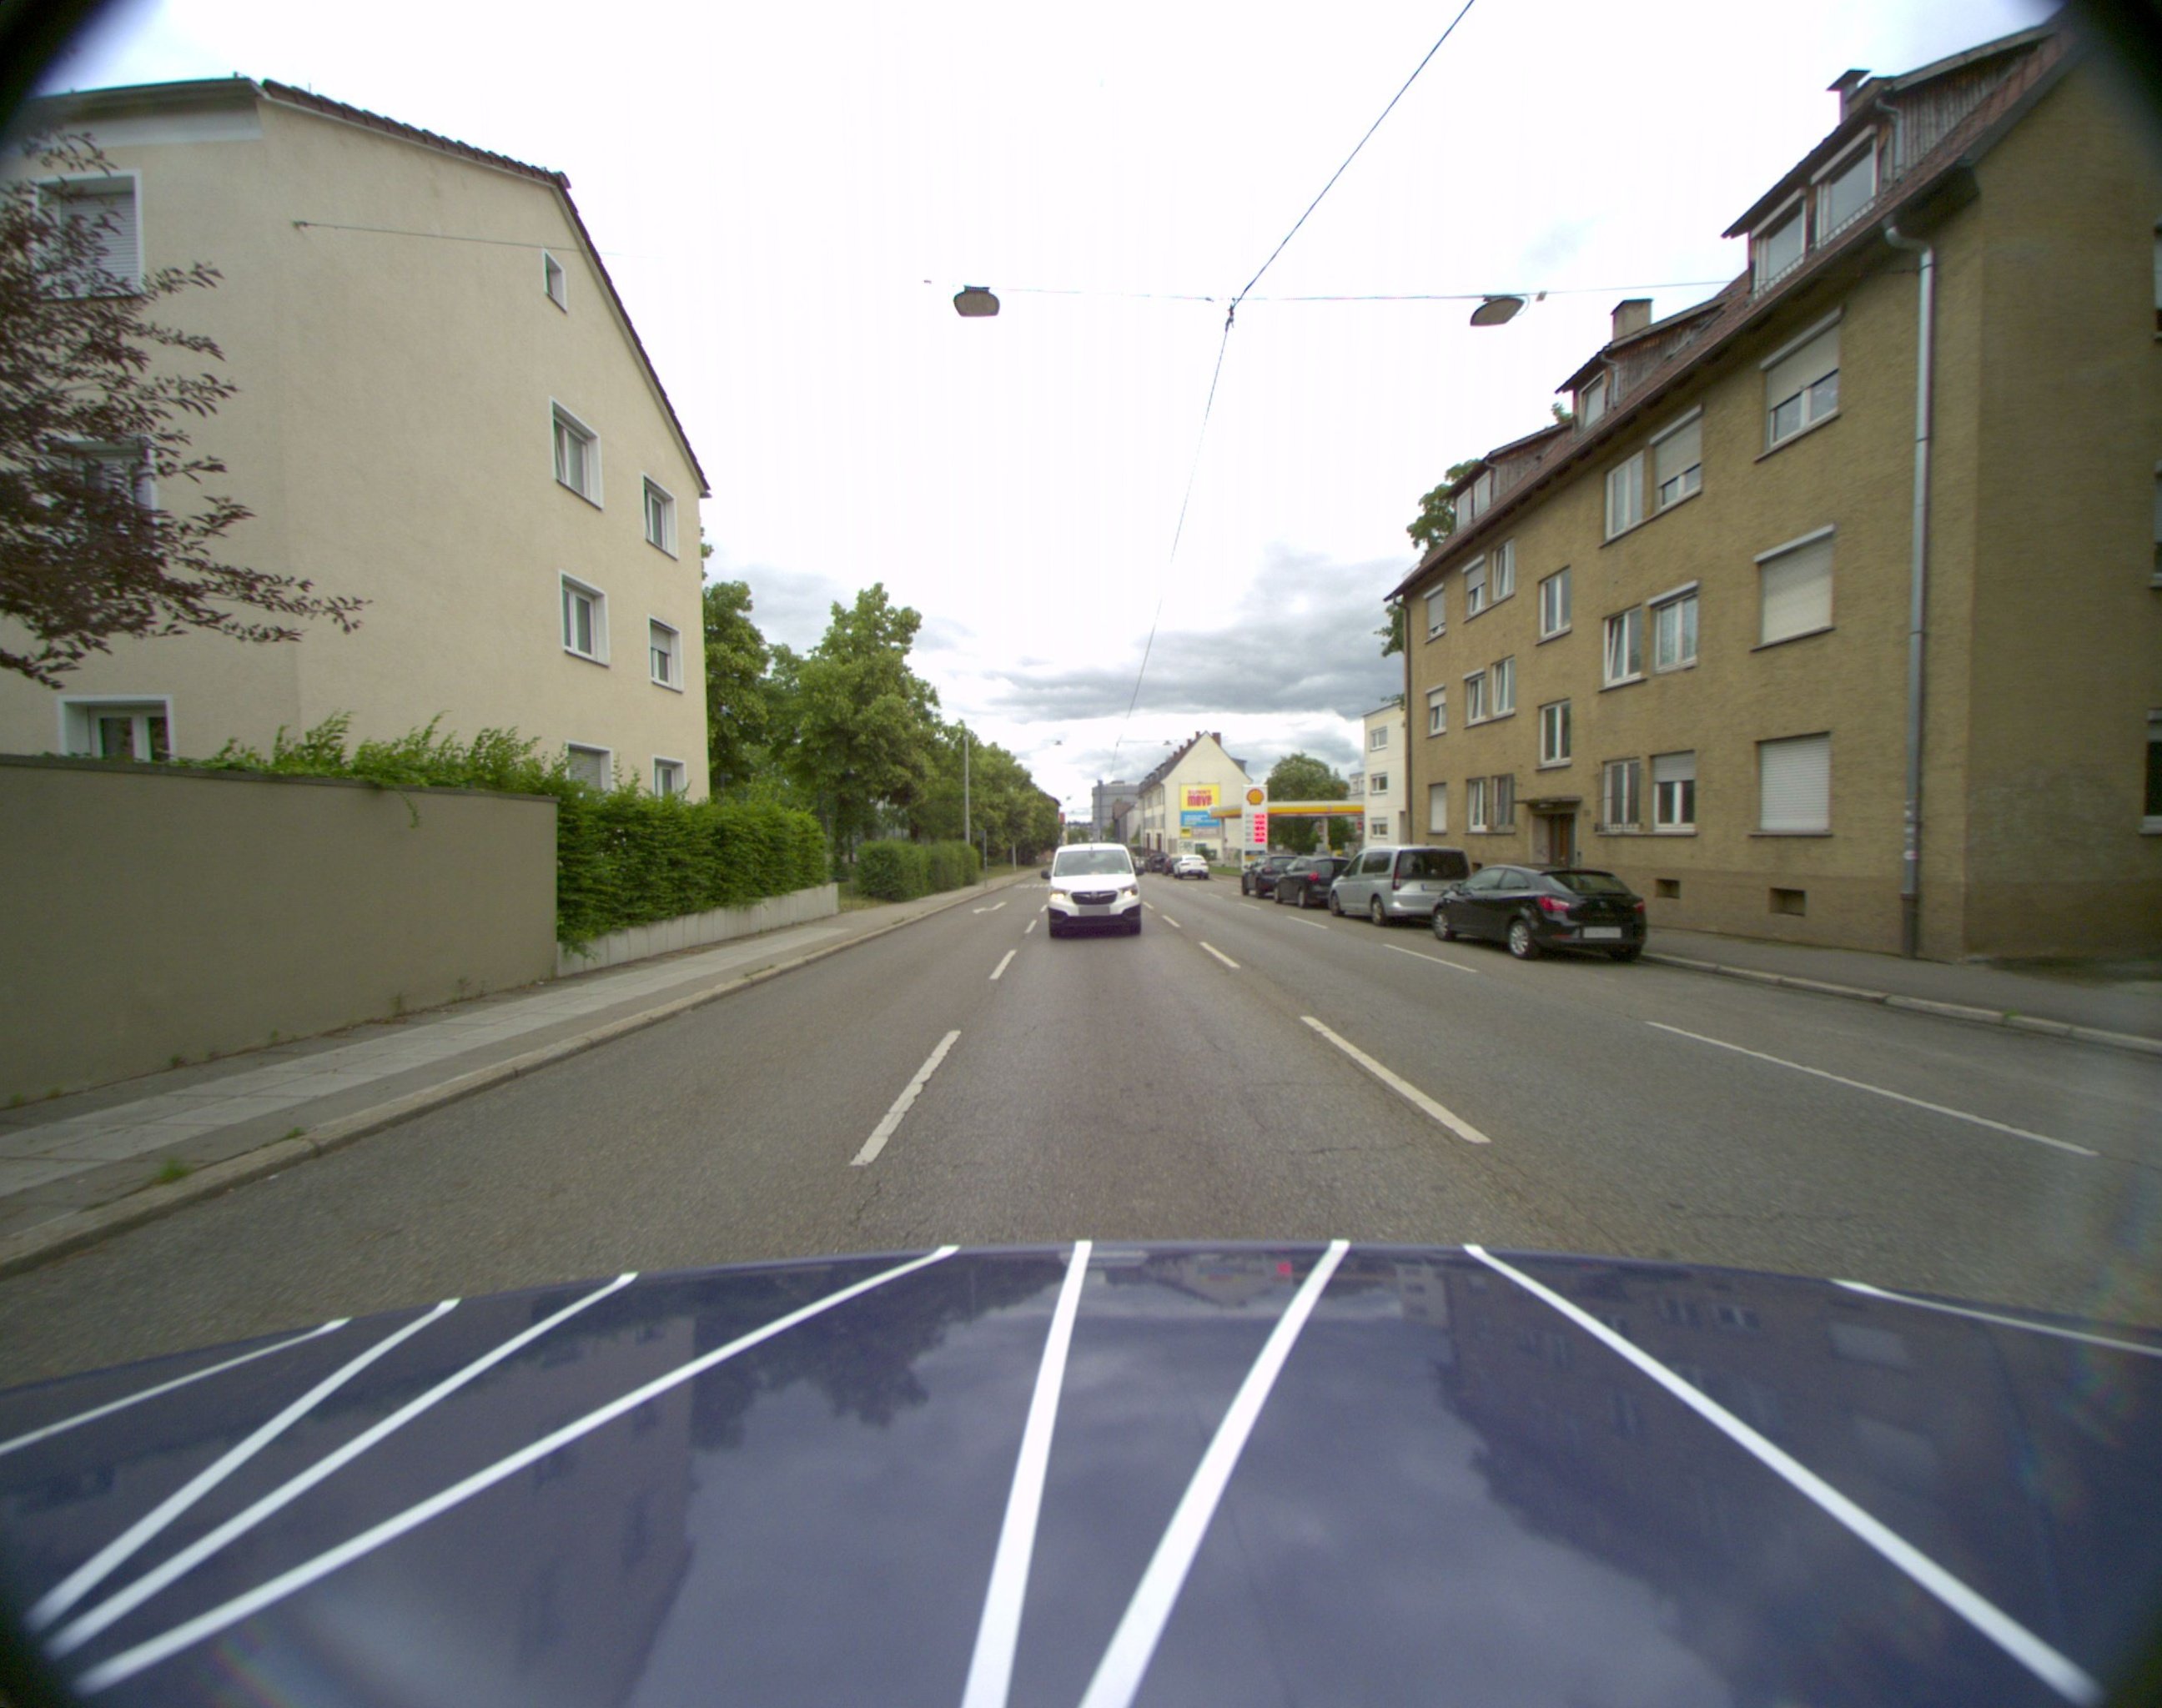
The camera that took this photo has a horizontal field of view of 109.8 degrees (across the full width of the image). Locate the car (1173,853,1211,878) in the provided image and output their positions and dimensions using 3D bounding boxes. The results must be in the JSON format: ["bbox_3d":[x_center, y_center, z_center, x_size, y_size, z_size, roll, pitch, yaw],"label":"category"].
[{"bbox_3d":[7.289,0.717,50.387,1.920,1.568,4.700,0,0,1],"label":"car"}]

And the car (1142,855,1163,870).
[{"bbox_3d":[7.203,0.873,76.826,1.795,1.441,4.218,0,0,0],"label":"car"}]

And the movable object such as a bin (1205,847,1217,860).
[{"bbox_3d":[16.107,-0.078,94.068,1.268,1.529,1.104,1,0,0],"label":"movable object such as a bin"}]

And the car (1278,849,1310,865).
[{"bbox_3d":[20.192,0.311,72.252,1.802,1.412,4.416,-2,0,0],"label":"car"}]

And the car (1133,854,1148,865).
[{"bbox_3d":[7.369,0.692,95.003,1.623,1.417,3.665,0,0,1],"label":"car"}]

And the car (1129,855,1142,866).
[{"bbox_3d":[7.510,0.883,104.604,1.551,1.466,3.604,0,0,0],"label":"car"}]

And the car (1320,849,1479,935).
[{"bbox_3d":[7.185,0.779,17.712,1.781,1.743,4.557,0,0,0],"label":"car"}]

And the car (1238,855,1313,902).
[{"bbox_3d":[7.213,0.860,28.582,1.787,1.600,4.265,1,0,1],"label":"car"}]

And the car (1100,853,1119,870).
[{"bbox_3d":[3.147,0.834,85.073,1.936,1.889,4.589,-1,0,0],"label":"car"}]

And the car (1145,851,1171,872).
[{"bbox_3d":[7.173,0.682,71.316,1.856,1.824,4.701,0,0,-1],"label":"car"}]

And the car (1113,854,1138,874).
[{"bbox_3d":[3.682,0.784,63.309,1.845,1.581,4.163,0,0,0],"label":"car"}]

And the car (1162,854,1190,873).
[{"bbox_3d":[7.387,0.746,59.555,1.802,1.423,4.744,0,0,2],"label":"car"}]

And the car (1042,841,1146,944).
[{"bbox_3d":[0.256,0.755,15.891,1.850,1.831,4.285,-1,-2,0],"label":"car"}]

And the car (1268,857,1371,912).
[{"bbox_3d":[7.173,0.868,23.285,1.756,1.521,4.098,0,0,-2],"label":"car"}]

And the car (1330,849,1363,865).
[{"bbox_3d":[24.831,0.249,71.281,1.802,1.412,3.636,-2,0,0],"label":"car"}]

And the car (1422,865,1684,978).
[{"bbox_3d":[7.225,0.941,12.174,1.750,1.431,3.913,1,0,0],"label":"car"}]

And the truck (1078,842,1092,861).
[{"bbox_3d":[0.735,-0.447,143.161,2.545,3.478,8.521,0,-1,1],"label":"truck"}]
